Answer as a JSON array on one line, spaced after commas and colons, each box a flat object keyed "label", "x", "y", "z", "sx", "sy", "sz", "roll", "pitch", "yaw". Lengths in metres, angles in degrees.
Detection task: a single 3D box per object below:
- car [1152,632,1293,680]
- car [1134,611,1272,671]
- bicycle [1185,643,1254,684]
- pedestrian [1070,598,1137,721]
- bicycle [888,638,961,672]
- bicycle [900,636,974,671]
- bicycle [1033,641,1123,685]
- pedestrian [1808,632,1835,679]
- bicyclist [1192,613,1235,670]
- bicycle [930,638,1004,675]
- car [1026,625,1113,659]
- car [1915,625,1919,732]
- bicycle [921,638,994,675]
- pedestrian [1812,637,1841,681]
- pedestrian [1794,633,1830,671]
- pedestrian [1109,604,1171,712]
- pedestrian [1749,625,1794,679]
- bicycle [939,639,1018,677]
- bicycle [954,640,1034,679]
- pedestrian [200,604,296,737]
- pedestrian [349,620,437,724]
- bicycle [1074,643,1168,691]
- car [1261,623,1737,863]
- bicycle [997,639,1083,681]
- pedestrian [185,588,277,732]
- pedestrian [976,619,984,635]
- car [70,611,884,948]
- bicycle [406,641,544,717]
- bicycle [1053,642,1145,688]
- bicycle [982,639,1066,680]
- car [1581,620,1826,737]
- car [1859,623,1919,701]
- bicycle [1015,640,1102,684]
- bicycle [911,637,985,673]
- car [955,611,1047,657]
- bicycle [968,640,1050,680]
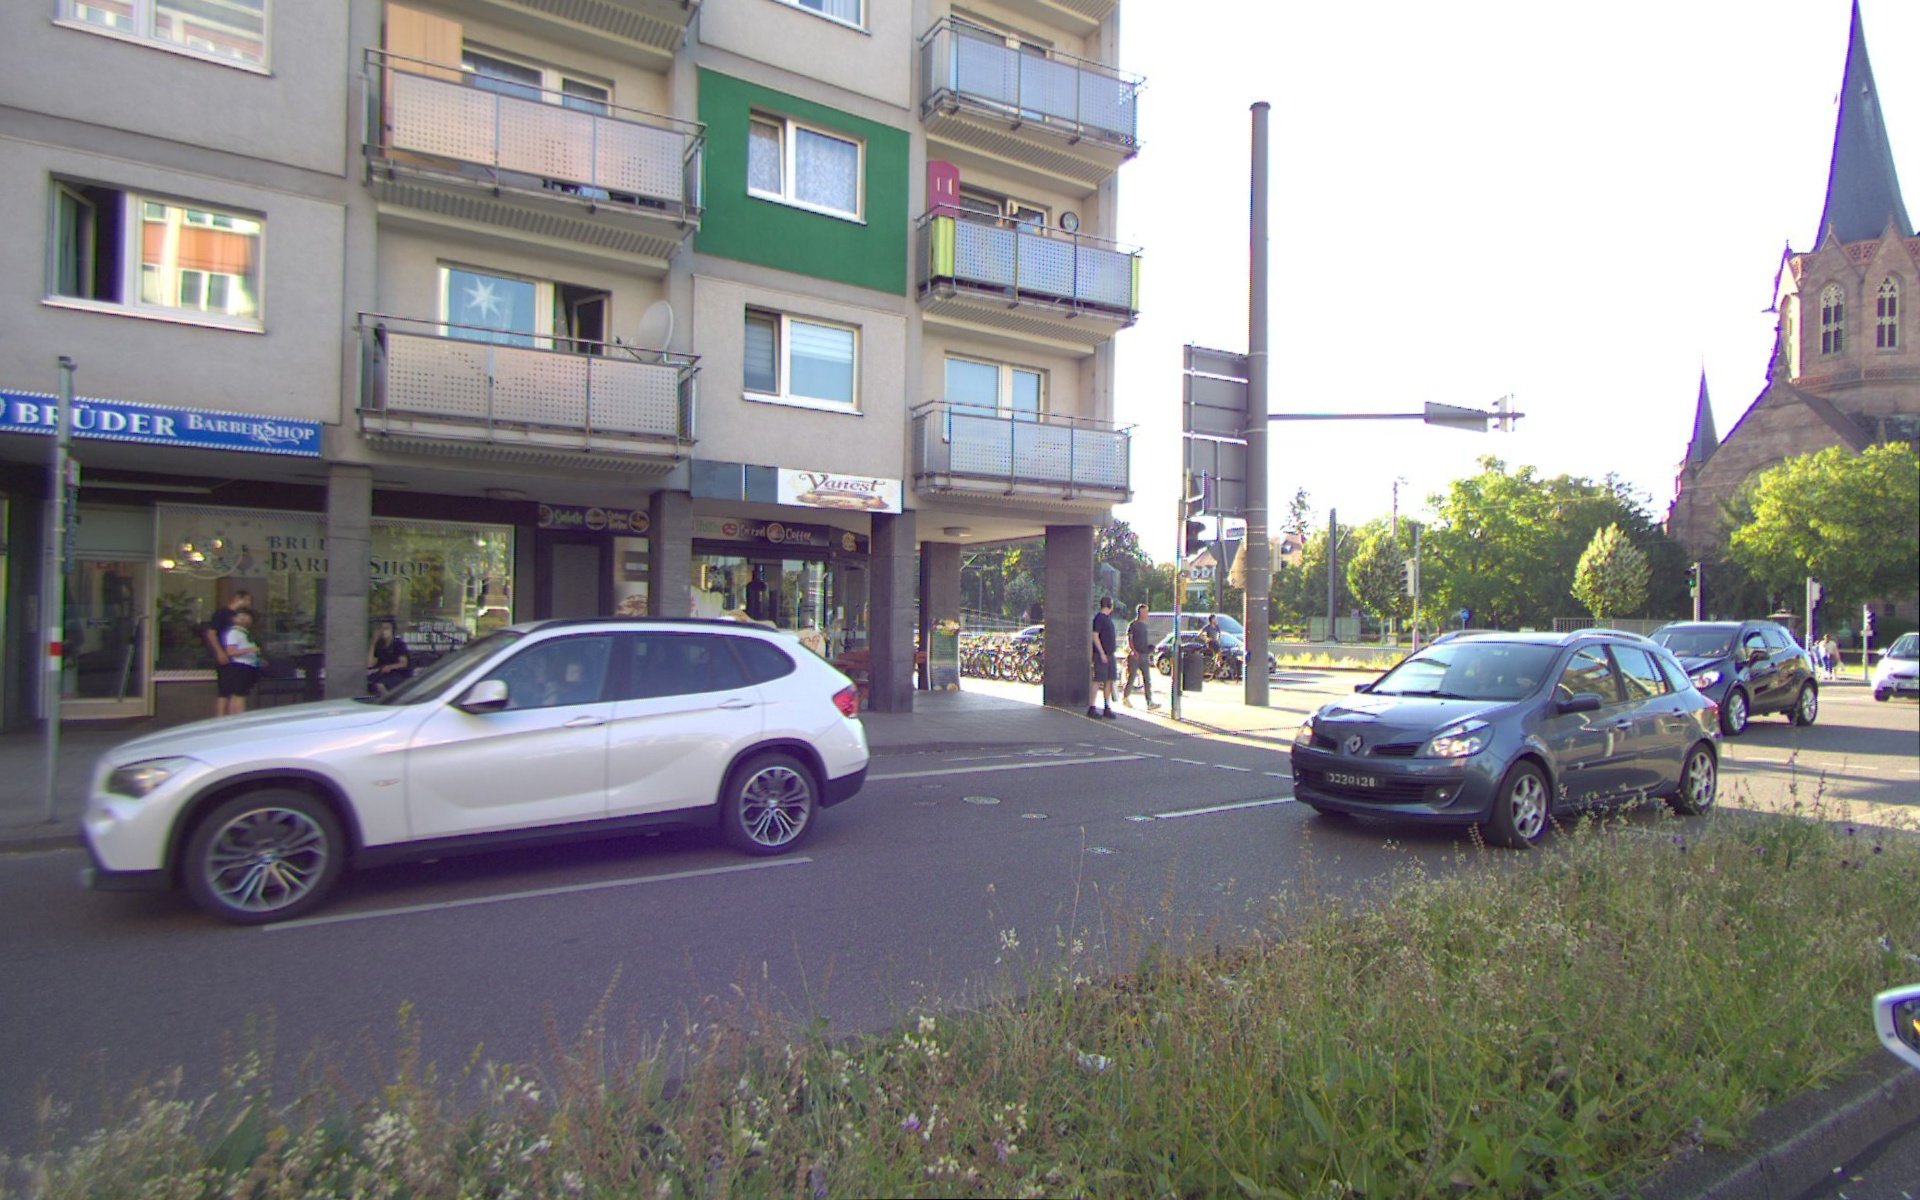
[{"label": "car", "x": 8.086, "y": 1.707, "z": 31.260, "sx": 1.781, "sy": 1.330, "sz": 4.165, "roll": 2, "pitch": -2, "yaw": -32}, {"label": "car", "x": 8.716, "y": 1.445, "z": 36.446, "sx": 1.978, "sy": 2.040, "sz": 4.896, "roll": 2, "pitch": -2, "yaw": -32}, {"label": "bicycle", "x": 7.384, "y": 1.794, "z": 28.643, "sx": 0.940, "sy": 1.112, "sz": 1.769, "roll": 1, "pitch": -2, "yaw": -30}, {"label": "pedestrian", "x": 2.294, "y": 0.934, "z": 16.094, "sx": 0.802, "sy": 1.900, "sz": 0.605, "roll": 1, "pitch": 2, "yaw": -30}, {"label": "bicycle", "x": -1.138, "y": 1.780, "z": 32.488, "sx": 2.273, "sy": 1.065, "sz": 0.731, "roll": 2, "pitch": -2, "yaw": -31}, {"label": "bicycle", "x": -0.732, "y": 1.699, "z": 31.801, "sx": 2.273, "sy": 1.065, "sz": 0.731, "roll": 2, "pitch": -2, "yaw": -31}, {"label": "bicycle", "x": 2.981, "y": 1.574, "z": 25.297, "sx": 2.273, "sy": 1.065, "sz": 0.731, "roll": 2, "pitch": -2, "yaw": -31}, {"label": "pedestrian", "x": 33.130, "y": 2.122, "z": 38.617, "sx": 0.699, "sy": 1.719, "sz": 0.892, "roll": 2, "pitch": 0, "yaw": 38}, {"label": "bicyclist", "x": 7.270, "y": 1.178, "z": 28.849, "sx": 0.952, "sy": 1.619, "sz": 0.732, "roll": 1, "pitch": -2, "yaw": -30}, {"label": "bicycle", "x": 0.226, "y": 1.686, "z": 30.098, "sx": 2.273, "sy": 1.065, "sz": 0.558, "roll": 2, "pitch": -2, "yaw": -31}, {"label": "car", "x": 4.720, "y": 1.818, "z": 43.839, "sx": 1.781, "sy": 1.392, "sz": 3.880, "roll": 2, "pitch": -2, "yaw": -32}, {"label": "car", "x": 16.198, "y": 1.149, "z": 15.003, "sx": 4.053, "sy": 1.565, "sz": 1.668, "roll": 1, "pitch": -2, "yaw": -29}, {"label": "bicycle", "x": -0.069, "y": 1.715, "z": 30.606, "sx": 2.273, "sy": 1.065, "sz": 0.558, "roll": 2, "pitch": -2, "yaw": -31}, {"label": "pedestrian", "x": 35.186, "y": 2.378, "z": 40.782, "sx": 0.832, "sy": 1.719, "sz": 1.012, "roll": 2, "pitch": 0, "yaw": 41}, {"label": "pedestrian", "x": 40.661, "y": 2.476, "z": 47.946, "sx": 0.827, "sy": 1.719, "sz": 1.017, "roll": 2, "pitch": 0, "yaw": 8}, {"label": "pedestrian", "x": 3.130, "y": 0.997, "z": 17.504, "sx": 0.802, "sy": 1.811, "sz": 0.606, "roll": 1, "pitch": 2, "yaw": -27}, {"label": "pedestrian", "x": 27.017, "y": 1.716, "z": 33.442, "sx": 0.803, "sy": 1.762, "sz": 0.960, "roll": 2, "pitch": -1, "yaw": -32}, {"label": "bicycle", "x": 0.552, "y": 1.708, "z": 29.513, "sx": 2.273, "sy": 1.065, "sz": 0.731, "roll": 2, "pitch": -2, "yaw": -31}, {"label": "bicycle", "x": 0.990, "y": 1.694, "z": 28.833, "sx": 2.273, "sy": 1.065, "sz": 0.731, "roll": 2, "pitch": -2, "yaw": -31}, {"label": "pedestrian", "x": -8.225, "y": 0.794, "z": 11.621, "sx": 0.613, "sy": 1.486, "sz": 0.658, "roll": 0, "pitch": -1, "yaw": 24}, {"label": "pedestrian", "x": -7.555, "y": 0.937, "z": 13.408, "sx": 0.613, "sy": 1.331, "sz": 0.811, "roll": 0, "pitch": -1, "yaw": 16}, {"label": "bicycle", "x": 3.842, "y": 1.582, "z": 23.932, "sx": 2.273, "sy": 1.065, "sz": 0.731, "roll": 2, "pitch": -1, "yaw": -31}, {"label": "car", "x": 4.362, "y": 0.943, "z": 7.977, "sx": 3.941, "sy": 1.490, "sz": 1.584, "roll": 1, "pitch": -2, "yaw": -32}, {"label": "bicycle", "x": 2.142, "y": 1.600, "z": 26.773, "sx": 2.273, "sy": 1.065, "sz": 0.731, "roll": 2, "pitch": -2, "yaw": -31}, {"label": "pedestrian", "x": -8.890, "y": 0.712, "z": 12.256, "sx": 0.613, "sy": 1.694, "sz": 0.658, "roll": 0, "pitch": -1, "yaw": 24}, {"label": "pedestrian", "x": 2.352, "y": 3.167, "z": 118.744, "sx": 0.677, "sy": 1.847, "sz": 0.531, "roll": 2, "pitch": -1, "yaw": -27}, {"label": "car", "x": -2.737, "y": 0.867, "z": 6.443, "sx": 4.204, "sy": 1.508, "sz": 1.742, "roll": 1, "pitch": -2, "yaw": -34}, {"label": "bicycle", "x": -6.963, "y": 1.115, "z": 14.462, "sx": 1.684, "sy": 1.012, "sz": 0.619, "roll": 2, "pitch": -2, "yaw": -40}, {"label": "bicycle", "x": 3.418, "y": 1.588, "z": 24.615, "sx": 2.273, "sy": 1.065, "sz": 0.731, "roll": 2, "pitch": -2, "yaw": -31}, {"label": "bicycle", "x": 1.756, "y": 1.610, "z": 27.463, "sx": 2.273, "sy": 1.065, "sz": 0.731, "roll": 2, "pitch": -2, "yaw": -31}, {"label": "car", "x": 11.806, "y": 1.167, "z": 15.897, "sx": 4.056, "sy": 1.650, "sz": 1.711, "roll": 1, "pitch": -2, "yaw": -32}, {"label": "car", "x": 21.065, "y": 1.327, "z": 21.879, "sx": 2.778, "sy": 1.614, "sz": 1.527, "roll": 1, "pitch": -3, "yaw": -33}, {"label": "bicycle", "x": 2.557, "y": 1.591, "z": 25.963, "sx": 2.273, "sy": 1.065, "sz": 0.731, "roll": 2, "pitch": -2, "yaw": -31}, {"label": "bicycle", "x": -0.347, "y": 1.701, "z": 31.115, "sx": 2.273, "sy": 1.065, "sz": 0.642, "roll": 2, "pitch": -2, "yaw": -31}, {"label": "car", "x": 1.875, "y": 1.574, "z": 47.660, "sx": 1.978, "sy": 2.040, "sz": 4.896, "roll": 2, "pitch": -2, "yaw": -32}, {"label": "bicycle", "x": 1.392, "y": 1.667, "z": 28.141, "sx": 2.273, "sy": 1.065, "sz": 0.731, "roll": 2, "pitch": -2, "yaw": -31}]
